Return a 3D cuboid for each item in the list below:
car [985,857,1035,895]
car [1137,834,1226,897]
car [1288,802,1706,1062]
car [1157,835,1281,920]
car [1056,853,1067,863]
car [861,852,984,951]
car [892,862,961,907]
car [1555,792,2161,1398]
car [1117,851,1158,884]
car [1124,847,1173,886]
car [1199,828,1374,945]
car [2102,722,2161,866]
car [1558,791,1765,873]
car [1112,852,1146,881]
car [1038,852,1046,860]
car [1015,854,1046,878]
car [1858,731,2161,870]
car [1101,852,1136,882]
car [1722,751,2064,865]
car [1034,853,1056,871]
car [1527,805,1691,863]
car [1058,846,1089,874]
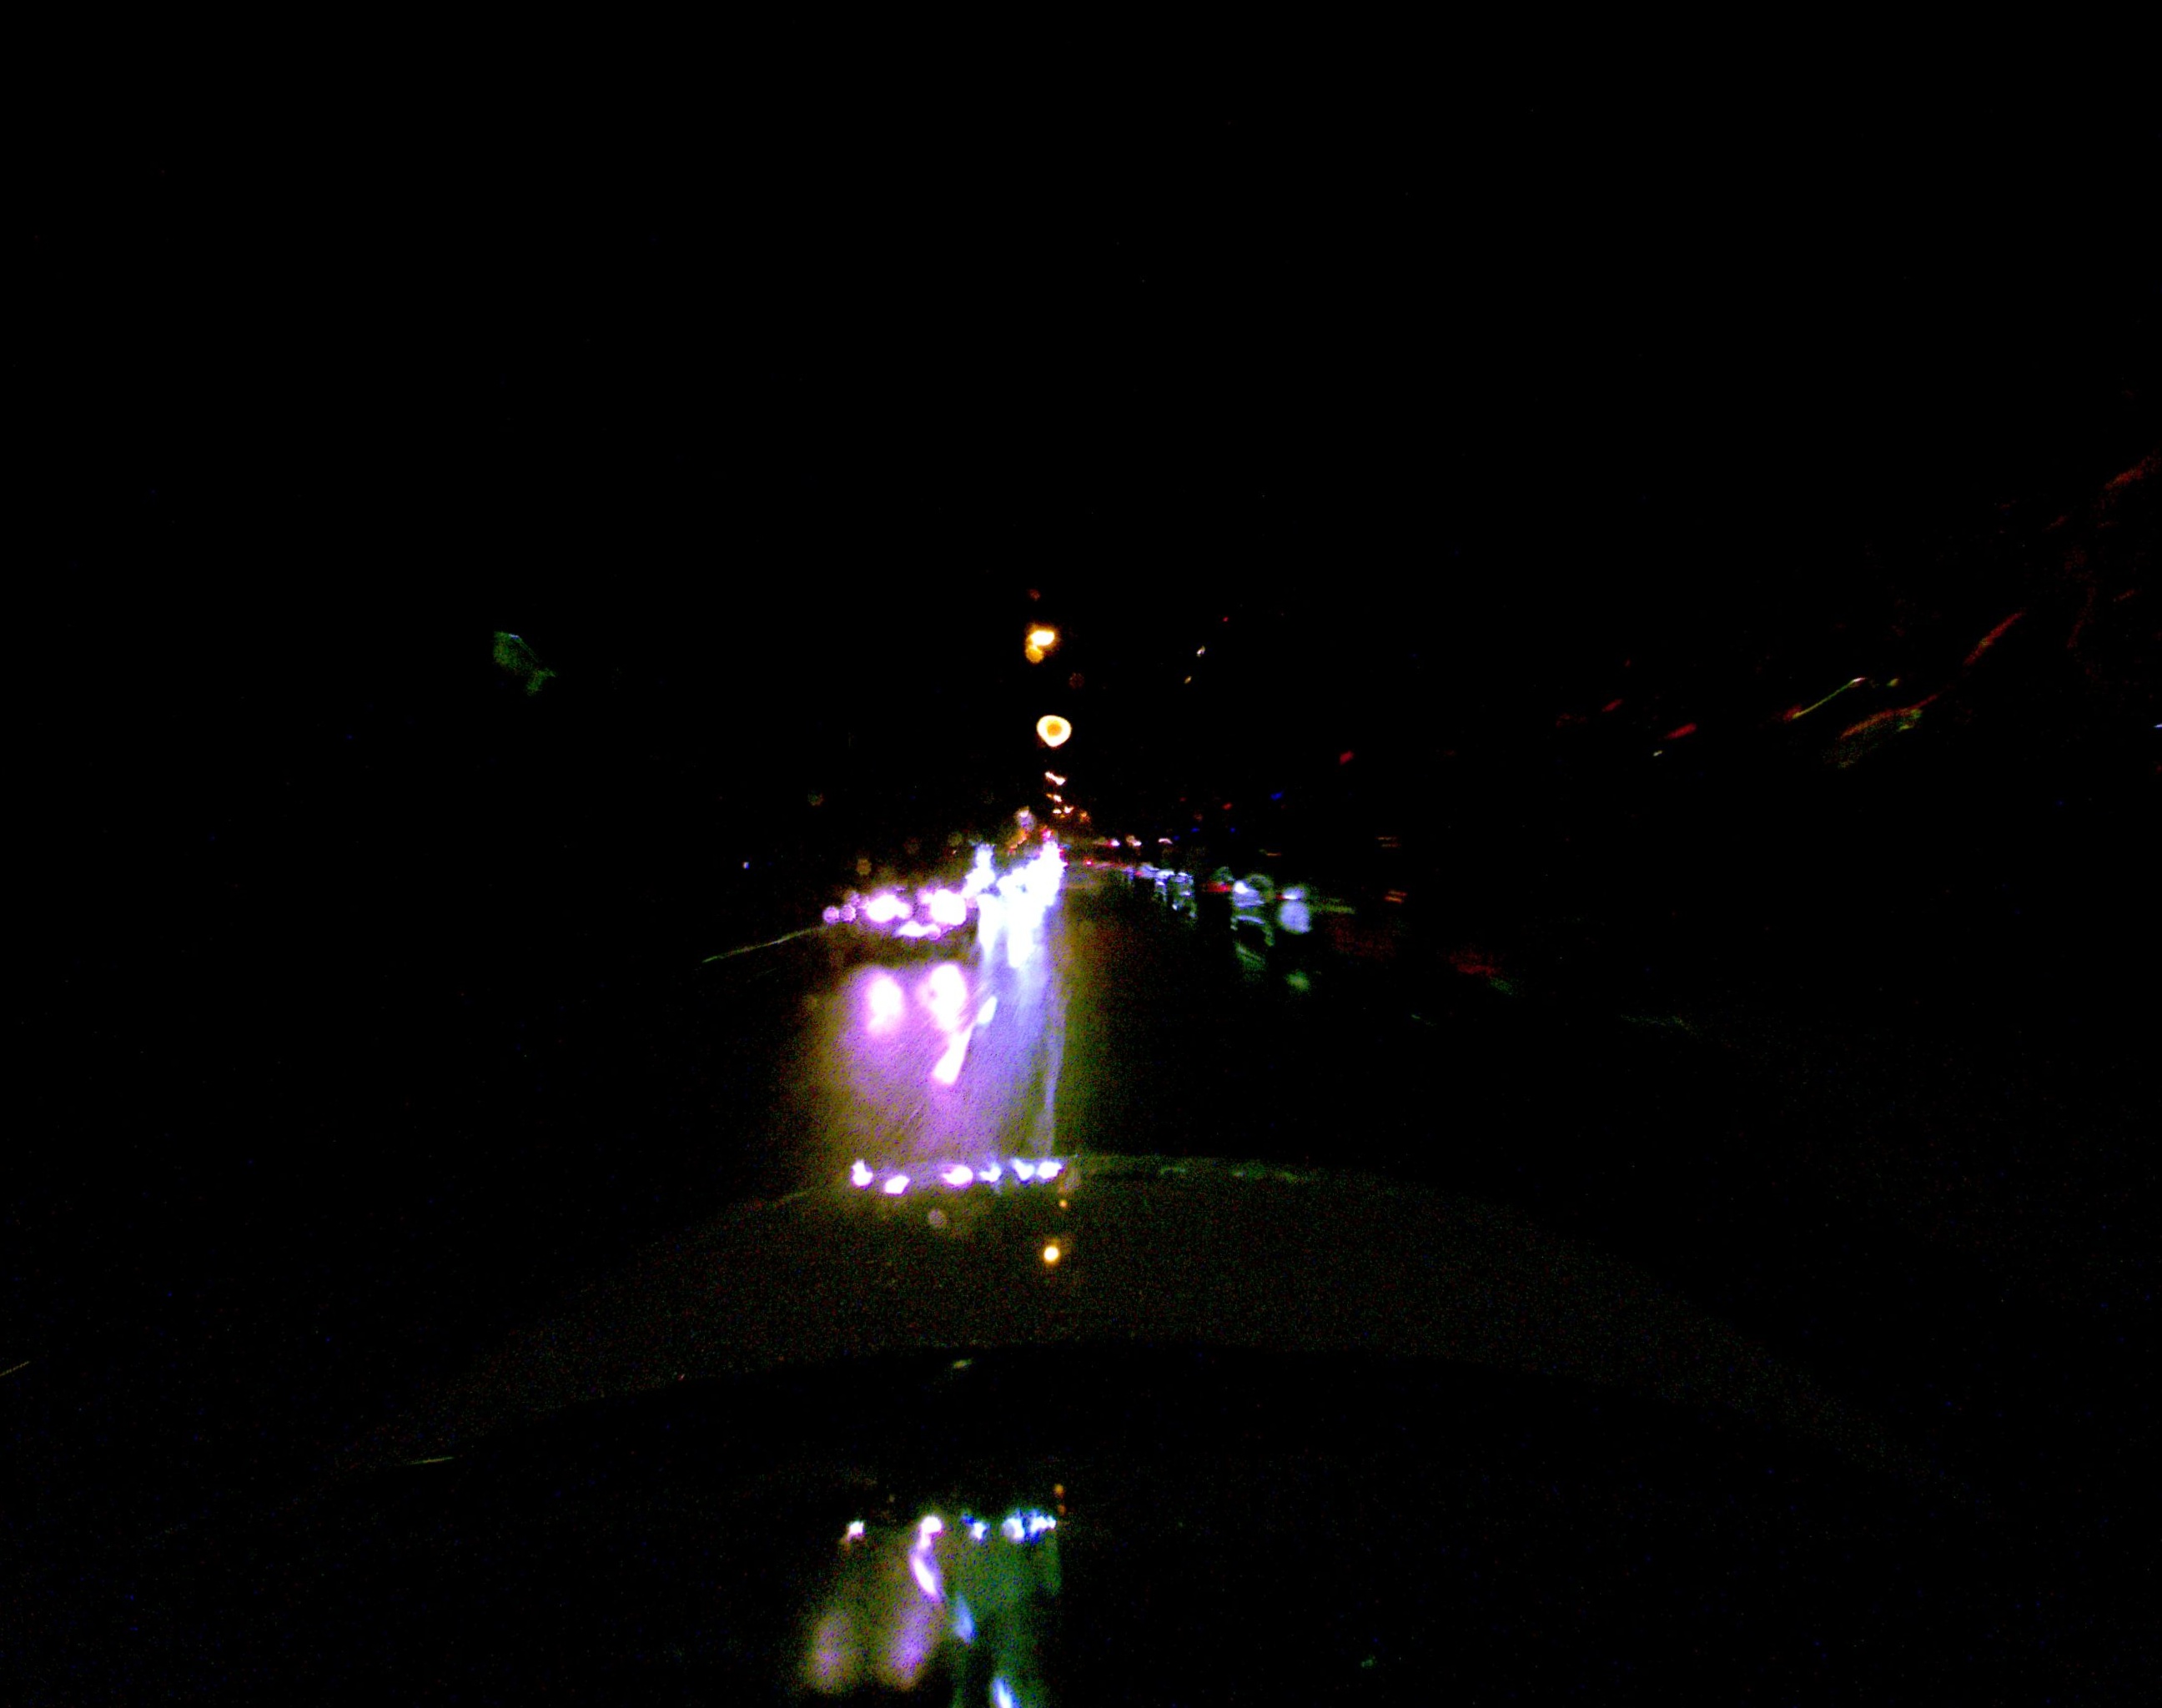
[{"bbox_3d":[-2.982,0.906,34.983,1.671,1.434,4.510,-4,0,-1],"label":"car"},{"bbox_3d":[2.928,0.294,24.774,1.876,1.572,4.585,-6,1,-2],"label":"car"},{"bbox_3d":[3.535,0.534,7.953,1.709,1.707,4.184,-6,1,-2],"label":"car"},{"bbox_3d":[3.065,0.461,19.099,1.876,1.572,4.524,-6,1,-2],"label":"car"},{"bbox_3d":[-3.600,0.672,150.335,1.807,1.709,3.802,-5,0,-1],"label":"car"},{"bbox_3d":[-2.672,0.750,14.301,1.542,1.499,2.793,-2,0,1],"label":"car"},{"bbox_3d":[-5.810,1.119,31.137,1.573,1.457,4.643,-6,-1,0],"label":"car"},{"bbox_3d":[3.498,0.555,2.221,1.708,1.488,4.435,-4,0,-1],"label":"car"},{"bbox_3d":[2.792,0.649,40.865,1.599,1.388,3.790,-6,0,-1],"label":"car"},{"bbox_3d":[2.842,0.488,35.248,1.623,1.466,4.509,-5,0,0],"label":"car"},{"bbox_3d":[3.299,0.455,13.929,1.749,1.528,4.151,-6,1,-1],"label":"car"},{"bbox_3d":[14.245,-0.807,8.796,4.205,1.617,1.805,-4,0,-1],"label":"car"},{"bbox_3d":[14.890,-0.554,21.046,4.052,1.789,1.749,-4,0,0],"label":"car"},{"bbox_3d":[2.616,0.681,45.279,1.491,1.388,3.745,-5,0,-1],"label":"car"},{"bbox_3d":[-9.351,0.383,195.575,1.531,1.709,3.802,-5,0,-1],"label":"car"},{"bbox_3d":[-3.264,0.756,53.558,1.853,1.461,4.519,-2,0,-2],"label":"car"},{"bbox_3d":[13.569,-0.751,11.182,4.205,1.617,1.685,-4,0,-1],"label":"car"},{"bbox_3d":[2.324,0.801,51.435,1.816,1.673,3.998,-5,0,-1],"label":"car"},{"bbox_3d":[13.274,-0.723,13.479,3.975,1.520,1.685,-4,0,-1],"label":"car"},{"bbox_3d":[-3.146,0.686,71.662,1.816,1.463,4.862,-2,0,-2],"label":"car"},{"bbox_3d":[15.284,-0.569,23.715,3.674,1.400,1.621,-4,0,0],"label":"car"},{"bbox_3d":[-0.504,0.382,56.040,1.987,1.683,4.000,-3,2,0],"label":"car"}]
